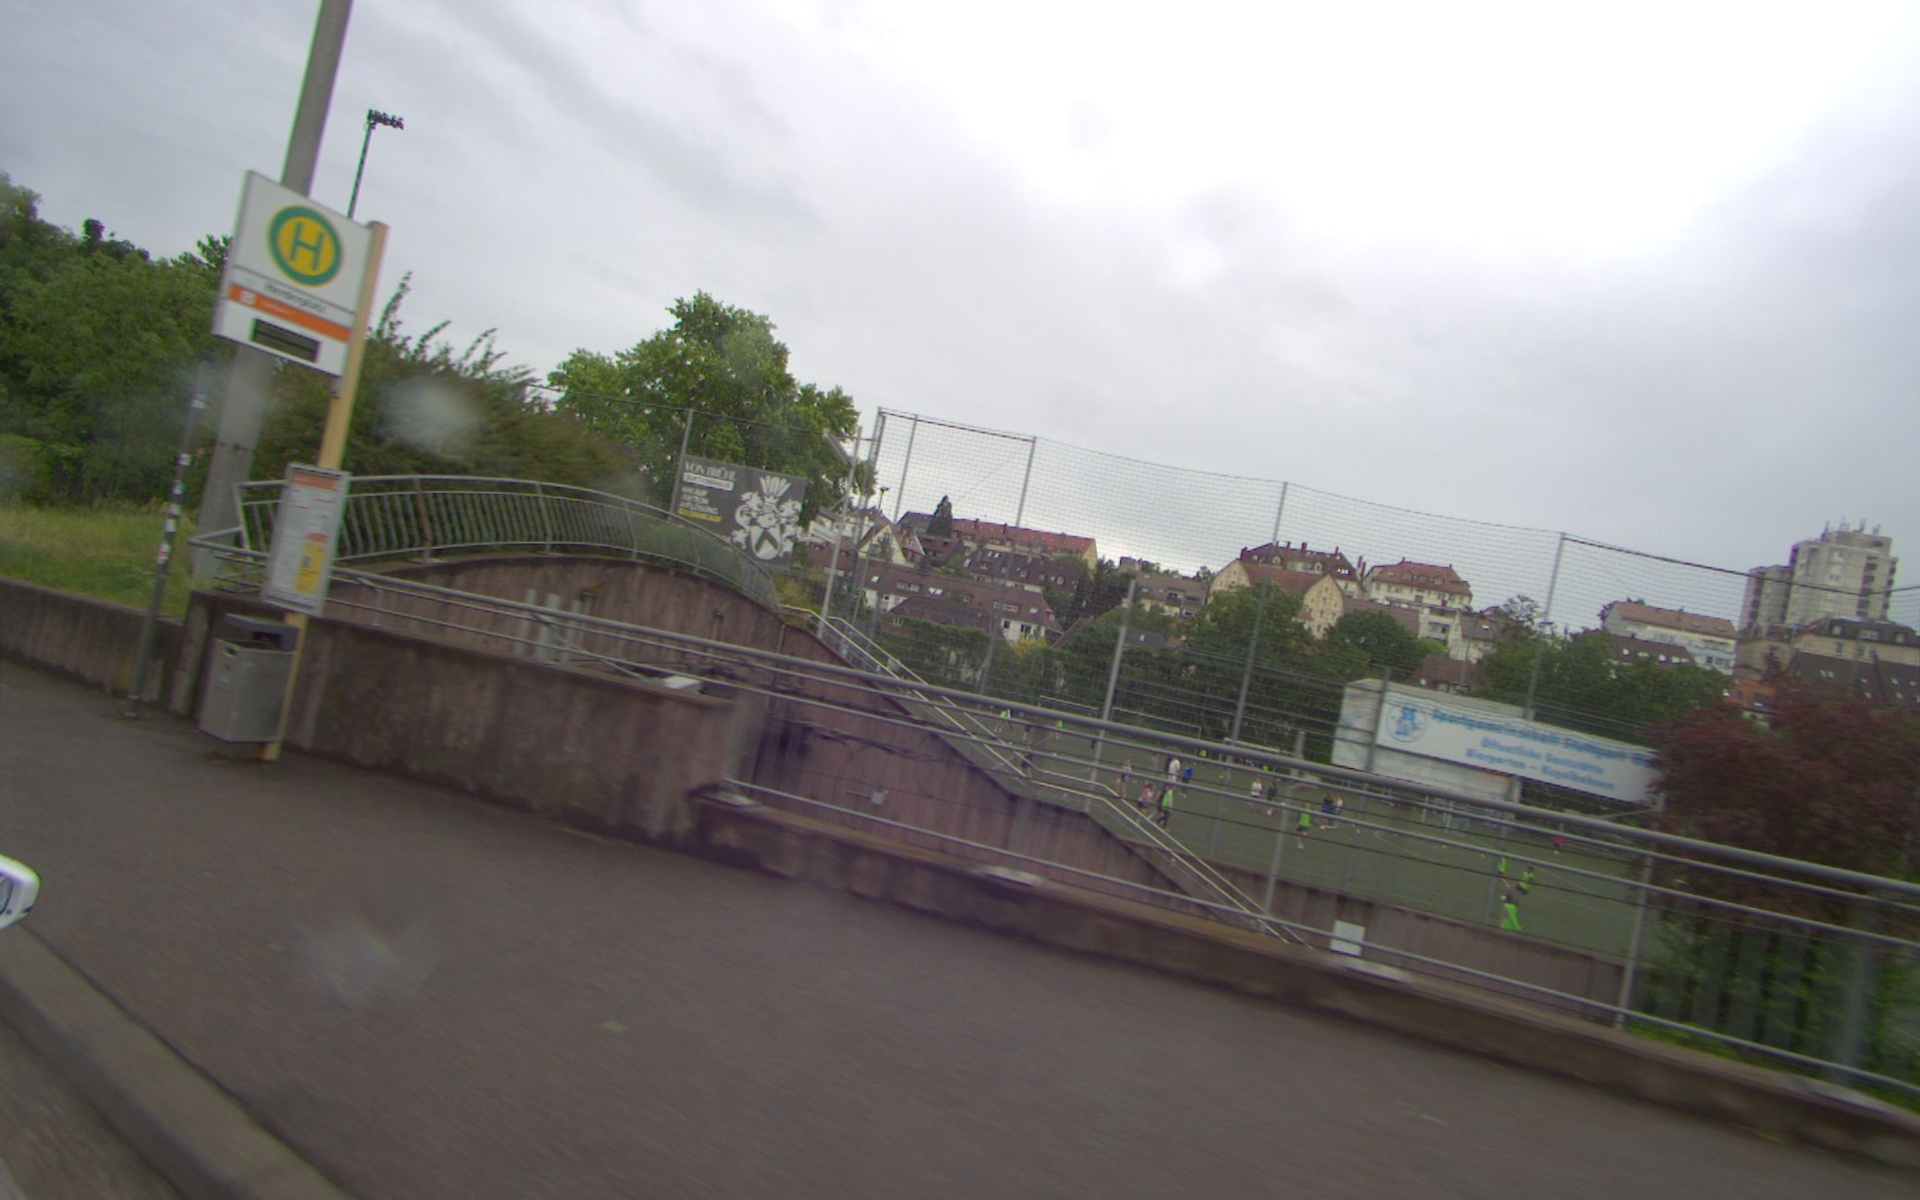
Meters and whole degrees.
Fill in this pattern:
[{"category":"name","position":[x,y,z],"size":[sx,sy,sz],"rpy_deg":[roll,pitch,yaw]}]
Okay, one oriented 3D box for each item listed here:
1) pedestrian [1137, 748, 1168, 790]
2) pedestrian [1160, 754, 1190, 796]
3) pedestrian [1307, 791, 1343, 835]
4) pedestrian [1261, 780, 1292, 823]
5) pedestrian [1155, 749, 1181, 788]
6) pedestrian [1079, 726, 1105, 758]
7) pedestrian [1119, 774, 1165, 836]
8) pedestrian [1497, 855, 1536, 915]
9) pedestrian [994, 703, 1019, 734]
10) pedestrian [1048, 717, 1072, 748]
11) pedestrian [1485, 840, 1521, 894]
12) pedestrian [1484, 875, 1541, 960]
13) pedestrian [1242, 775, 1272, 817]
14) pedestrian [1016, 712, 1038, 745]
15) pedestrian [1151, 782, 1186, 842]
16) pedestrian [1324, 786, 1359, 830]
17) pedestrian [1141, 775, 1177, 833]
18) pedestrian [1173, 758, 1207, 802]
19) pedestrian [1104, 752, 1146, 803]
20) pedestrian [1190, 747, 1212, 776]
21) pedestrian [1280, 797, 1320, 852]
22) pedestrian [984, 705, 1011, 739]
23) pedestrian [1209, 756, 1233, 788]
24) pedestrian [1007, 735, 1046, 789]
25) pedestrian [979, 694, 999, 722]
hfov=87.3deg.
[{"category":"pedestrian","position":[9.559,8.407,50.015],"size":[0.954,1.847,1.035],"rpy_deg":[12,-6,-10]},{"category":"pedestrian","position":[10.620,8.648,49.670],"size":[0.953,1.847,1.037],"rpy_deg":[7,-7,29]},{"category":"pedestrian","position":[17.707,10.328,48.830],"size":[1.021,1.847,0.967],"rpy_deg":[13,-7,-18]},{"category":"pedestrian","position":[15.234,9.707,48.440],"size":[0.954,1.847,1.035],"rpy_deg":[7,-8,34]},{"category":"pedestrian","position":[10.862,8.825,52.622],"size":[1.015,1.847,0.973],"rpy_deg":[9,-6,15]},{"category":"pedestrian","position":[8.569,9.213,65.282],"size":[1.019,1.847,0.970],"rpy_deg":[6,-8,38]},{"category":"pedestrian","position":[6.292,7.091,34.849],"size":[0.955,1.847,1.035],"rpy_deg":[12,-6,-10]},{"category":"pedestrian","position":[19.841,10.121,35.864],"size":[1.017,1.847,0.971],"rpy_deg":[7,-7,32]},{"category":"pedestrian","position":[3.173,8.102,68.580],"size":[1.019,1.847,0.970],"rpy_deg":[6,-8,38]},{"category":"pedestrian","position":[6.755,8.932,67.953],"size":[1.019,1.847,0.970],"rpy_deg":[6,-8,38]},{"category":"pedestrian","position":[21.404,10.488,39.626],"size":[1.017,1.847,0.971],"rpy_deg":[7,-7,32]},{"category":"pedestrian","position":[13.840,7.939,25.192],"size":[0.747,1.847,0.826],"rpy_deg":[15,-7,-33]},{"category":"pedestrian","position":[14.520,9.574,49.116],"size":[0.953,1.847,1.037],"rpy_deg":[7,-7,30]},{"category":"pedestrian","position":[4.082,7.830,61.224],"size":[0.951,1.847,1.038],"rpy_deg":[10,-6,10]},{"category":"pedestrian","position":[7.214,7.308,34.727],"size":[0.848,1.847,1.038],"rpy_deg":[9,-7,16]},{"category":"pedestrian","position":[18.688,10.188,49.264],"size":[1.021,1.847,0.967],"rpy_deg":[13,-7,-18]},{"category":"pedestrian","position":[7.207,7.380,36.509],"size":[0.951,1.847,1.038],"rpy_deg":[10,-6,9]},{"category":"pedestrian","position":[11.150,8.733,48.808],"size":[1.031,1.847,0.958],"rpy_deg":[17,-9,-43]},{"category":"pedestrian","position":[6.825,7.351,41.622],"size":[1.028,1.847,0.961],"rpy_deg":[15,-8,-34]},{"category":"pedestrian","position":[17.678,11.806,73.662],"size":[1.019,1.847,0.970],"rpy_deg":[6,-8,38]},{"category":"pedestrian","position":[13.042,8.605,38.594],"size":[1.017,1.847,0.971],"rpy_deg":[7,-7,32]},{"category":"pedestrian","position":[2.366,7.678,63.182],"size":[1.019,1.847,0.970],"rpy_deg":[6,-8,38]},{"category":"pedestrian","position":[17.388,11.451,67.028],"size":[1.019,1.847,0.970],"rpy_deg":[6,-8,38]},{"category":"pedestrian","position":[2.572,6.300,39.179],"size":[0.955,1.847,1.034],"rpy_deg":[12,-6,-12]},{"category":"pedestrian","position":[2.166,8.143,75.636],"size":[0.951,1.847,1.038],"rpy_deg":[9,-7,18]}]
